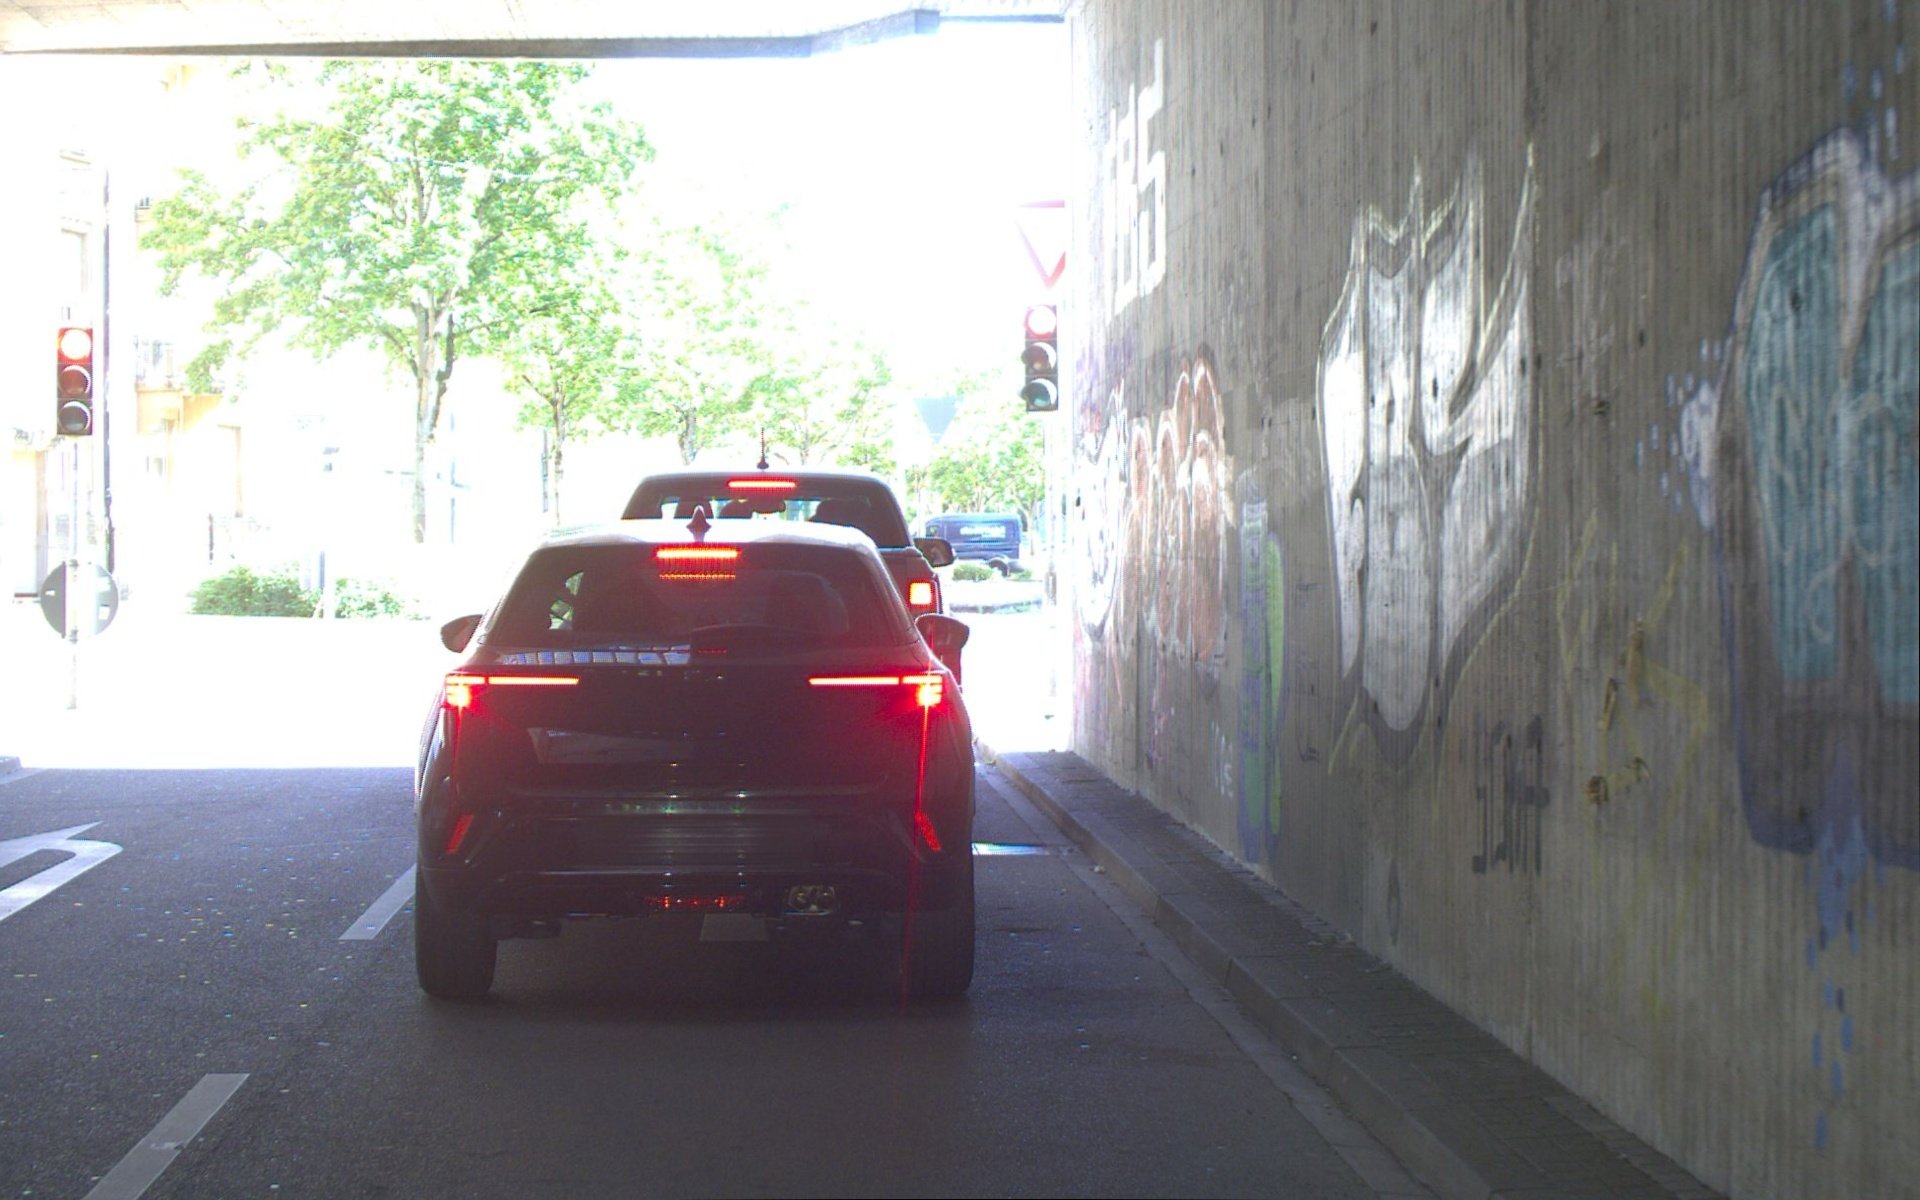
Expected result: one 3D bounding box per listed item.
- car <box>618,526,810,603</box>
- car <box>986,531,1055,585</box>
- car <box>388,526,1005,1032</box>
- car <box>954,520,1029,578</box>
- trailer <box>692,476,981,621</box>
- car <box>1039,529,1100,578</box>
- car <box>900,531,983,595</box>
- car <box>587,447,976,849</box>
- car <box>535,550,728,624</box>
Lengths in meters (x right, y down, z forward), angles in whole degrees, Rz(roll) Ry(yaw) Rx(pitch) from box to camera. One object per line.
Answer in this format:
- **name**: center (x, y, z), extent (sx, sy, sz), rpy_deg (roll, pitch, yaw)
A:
- **car**: center (-5.626, -0.825, 79.035), extent (4.151, 1.733, 2.000), rpy_deg (0, 1, 4)
- **car**: center (2.321, -1.599, 130.425), extent (1.994, 2.007, 4.267), rpy_deg (0, 1, 9)
- **car**: center (-0.886, 0.488, 12.326), extent (1.826, 1.496, 4.212), rpy_deg (0, 1, -3)
- **car**: center (1.128, -1.802, 121.365), extent (1.994, 2.007, 4.267), rpy_deg (0, 1, 9)
- **trailer**: center (-1.720, -0.736, 49.122), extent (3.987, 2.007, 2.000), rpy_deg (0, 1, 2)
- **car**: center (4.629, -1.984, 144.566), extent (1.994, 2.007, 4.267), rpy_deg (0, 1, 9)
- **car**: center (-0.567, -1.210, 111.079), extent (1.994, 2.007, 4.267), rpy_deg (0, 1, 9)
- **car**: center (-0.977, 0.173, 18.466), extent (1.815, 1.876, 4.586), rpy_deg (0, 1, -3)
- **car**: center (-7.091, -0.288, 74.380), extent (3.987, 1.568, 1.640), rpy_deg (0, 1, 1)
